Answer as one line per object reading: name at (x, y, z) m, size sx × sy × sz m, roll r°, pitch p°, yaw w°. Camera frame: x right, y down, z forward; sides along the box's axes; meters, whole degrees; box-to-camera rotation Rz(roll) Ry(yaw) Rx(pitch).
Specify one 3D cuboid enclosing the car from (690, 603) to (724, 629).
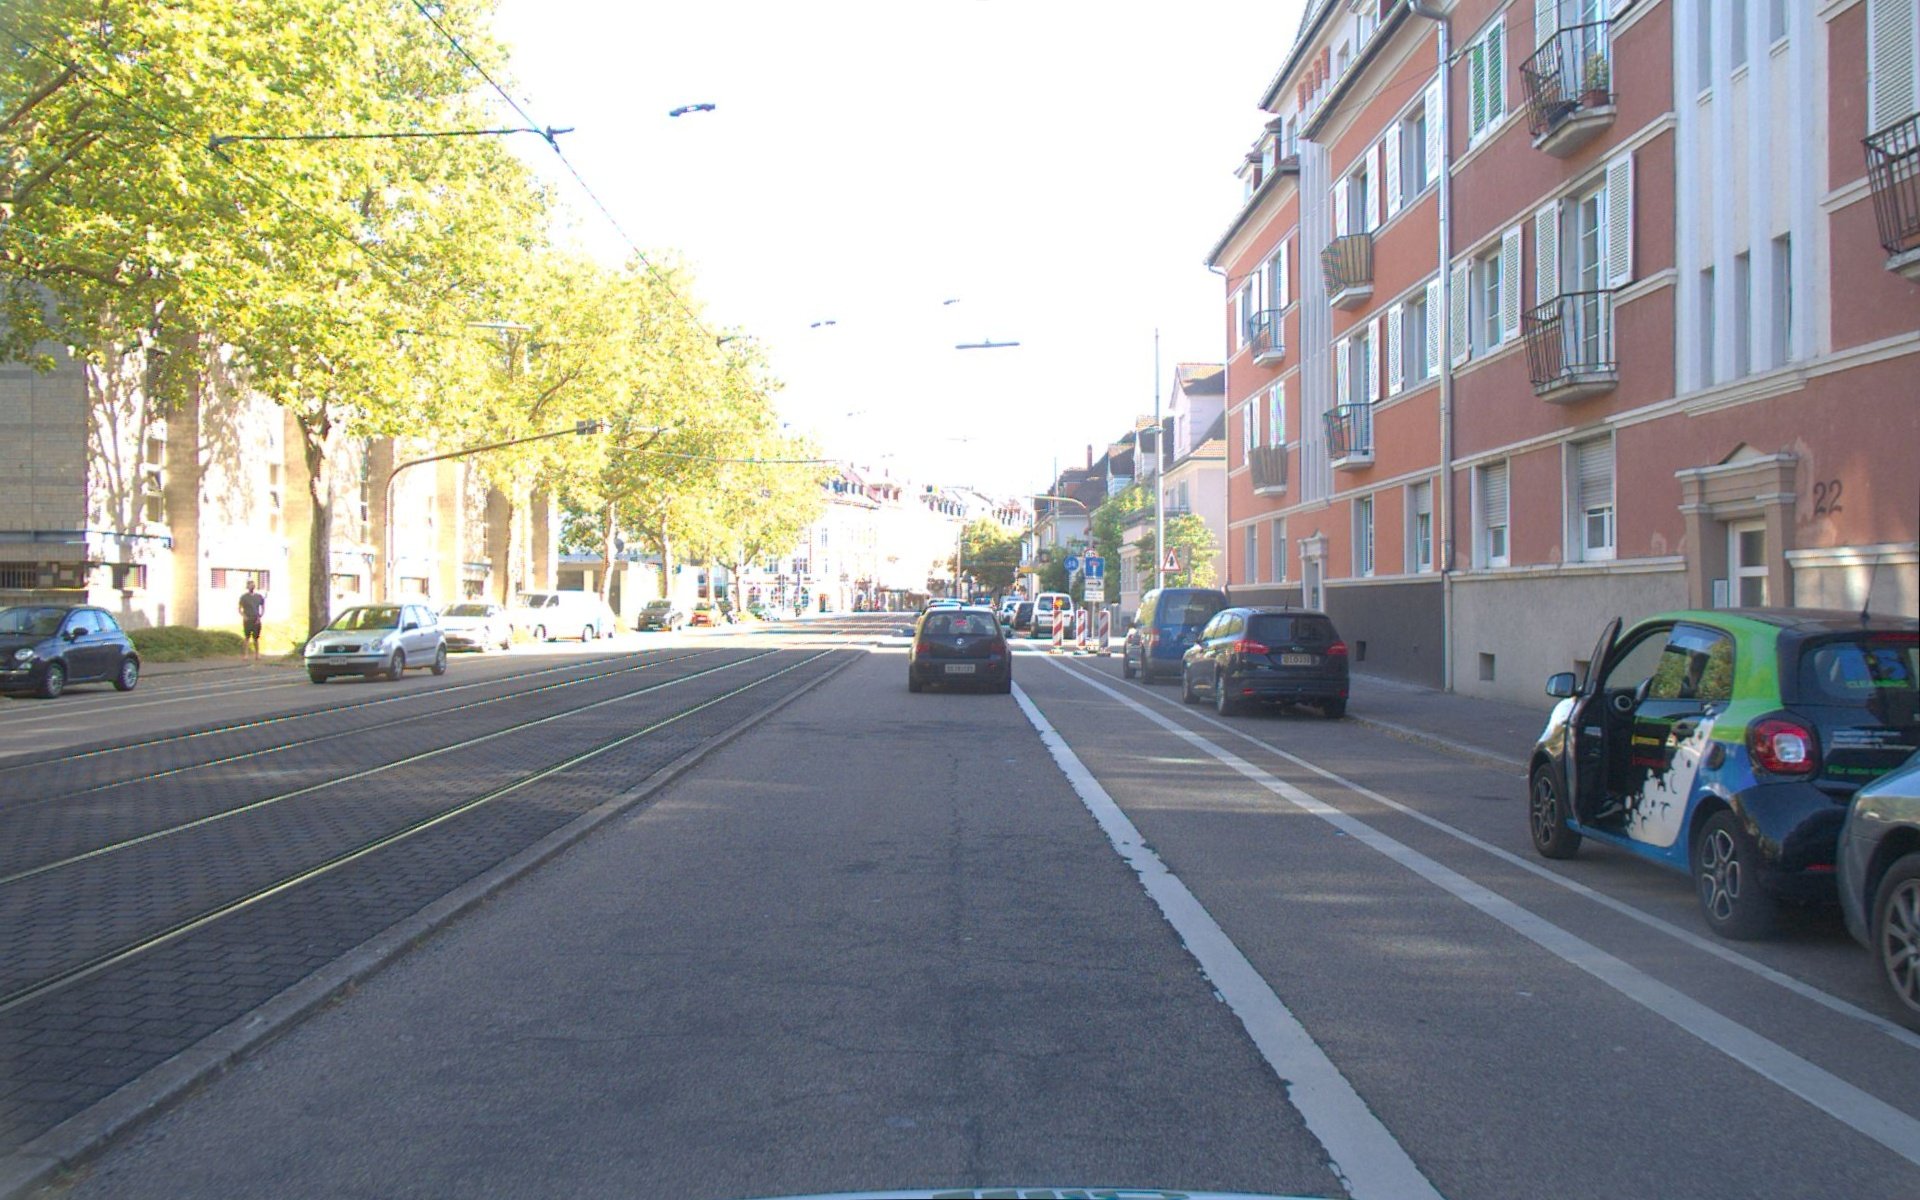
car at (-15.699, 1.006, 102.760) m, size 1.538 × 1.560 × 3.571 m, roll 0°, pitch -1°, yaw -1°

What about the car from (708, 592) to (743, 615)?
car at (-15.885, 0.229, 112.241) m, size 1.756 × 1.491 × 3.835 m, roll 3°, pitch 0°, yaw -1°

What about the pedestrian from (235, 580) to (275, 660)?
pedestrian at (-16.966, 0.475, 39.811) m, size 0.776 × 1.902 × 0.665 m, roll 2°, pitch 0°, yaw -29°

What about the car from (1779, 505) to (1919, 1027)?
car at (4.346, 0.611, 4.601) m, size 1.717 × 1.888 × 4.815 m, roll 1°, pitch 0°, yaw 0°

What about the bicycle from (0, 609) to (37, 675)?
bicycle at (-19.968, 0.836, 33.665) m, size 1.967 × 1.301 × 0.664 m, roll 1°, pitch 0°, yaw -1°

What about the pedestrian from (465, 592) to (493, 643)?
pedestrian at (-17.965, 0.643, 61.809) m, size 0.780 × 1.852 × 0.670 m, roll 2°, pitch 0°, yaw -1°

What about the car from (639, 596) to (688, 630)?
car at (-15.421, 0.664, 86.146) m, size 1.849 × 1.695 × 3.999 m, roll 0°, pitch 0°, yaw -1°

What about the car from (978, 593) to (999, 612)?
car at (2.253, 0.207, 132.443) m, size 1.602 × 1.498 × 3.729 m, roll 0°, pitch 0°, yaw -1°

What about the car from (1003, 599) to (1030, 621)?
car at (3.611, 0.637, 105.564) m, size 1.548 × 1.399 × 3.999 m, roll 0°, pitch 0°, yaw -1°

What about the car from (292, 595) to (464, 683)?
car at (-11.137, 0.709, 31.955) m, size 1.716 × 1.544 × 4.072 m, roll -2°, pitch 0°, yaw 2°

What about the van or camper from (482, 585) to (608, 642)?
van or camper at (-15.469, 0.503, 61.965) m, size 2.017 × 1.983 × 5.191 m, roll 2°, pitch 0°, yaw 19°

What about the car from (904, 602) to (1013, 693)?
car at (-0.083, 0.752, 28.092) m, size 1.713 × 1.399 × 3.999 m, roll 0°, pitch 0°, yaw -2°

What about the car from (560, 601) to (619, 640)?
car at (-15.502, 0.834, 69.424) m, size 1.542 × 1.533 × 4.090 m, roll 2°, pitch 0°, yaw -1°

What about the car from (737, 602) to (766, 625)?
car at (-16.581, 1.068, 131.629) m, size 1.846 × 1.698 × 3.803 m, roll 2°, pitch 0°, yaw -2°

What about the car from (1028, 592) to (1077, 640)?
car at (3.783, 0.637, 67.926) m, size 1.723 × 1.870 × 3.547 m, roll 2°, pitch 0°, yaw -1°

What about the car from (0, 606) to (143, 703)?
car at (-15.135, 0.858, 27.381) m, size 1.476 × 1.479 × 3.463 m, roll 0°, pitch 0°, yaw 1°

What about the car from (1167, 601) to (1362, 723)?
car at (4.307, 0.821, 24.130) m, size 1.719 × 1.538 × 4.760 m, roll 2°, pitch 0°, yaw -3°

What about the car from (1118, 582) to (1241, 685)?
car at (4.247, 0.612, 32.527) m, size 1.668 × 1.842 × 4.270 m, roll 2°, pitch 0°, yaw -2°

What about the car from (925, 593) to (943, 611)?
car at (-2.361, 0.194, 150.266) m, size 1.603 × 1.498 × 3.729 m, roll -3°, pitch 0°, yaw -1°

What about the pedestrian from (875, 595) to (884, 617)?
pedestrian at (-10.313, 0.748, 211.475) m, size 1.073 × 2.706 × 0.959 m, roll 2°, pitch 0°, yaw -1°

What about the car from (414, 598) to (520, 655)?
car at (-15.310, 0.778, 51.615) m, size 1.971 × 1.600 × 4.691 m, roll 2°, pitch 0°, yaw -2°

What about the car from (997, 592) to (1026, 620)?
car at (3.414, 0.412, 110.297) m, size 1.780 × 1.830 × 3.999 m, roll 0°, pitch 0°, yaw -1°

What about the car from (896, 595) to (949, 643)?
car at (-1.249, 0.625, 56.625) m, size 1.713 × 1.564 × 3.891 m, roll 0°, pitch 0°, yaw 0°

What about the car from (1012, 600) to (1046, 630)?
car at (3.645, 0.763, 87.683) m, size 1.627 × 1.552 × 4.035 m, roll 0°, pitch 0°, yaw -1°

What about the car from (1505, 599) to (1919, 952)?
car at (4.433, 0.790, 9.174) m, size 1.598 × 1.538 × 3.717 m, roll 2°, pitch 0°, yaw 1°
